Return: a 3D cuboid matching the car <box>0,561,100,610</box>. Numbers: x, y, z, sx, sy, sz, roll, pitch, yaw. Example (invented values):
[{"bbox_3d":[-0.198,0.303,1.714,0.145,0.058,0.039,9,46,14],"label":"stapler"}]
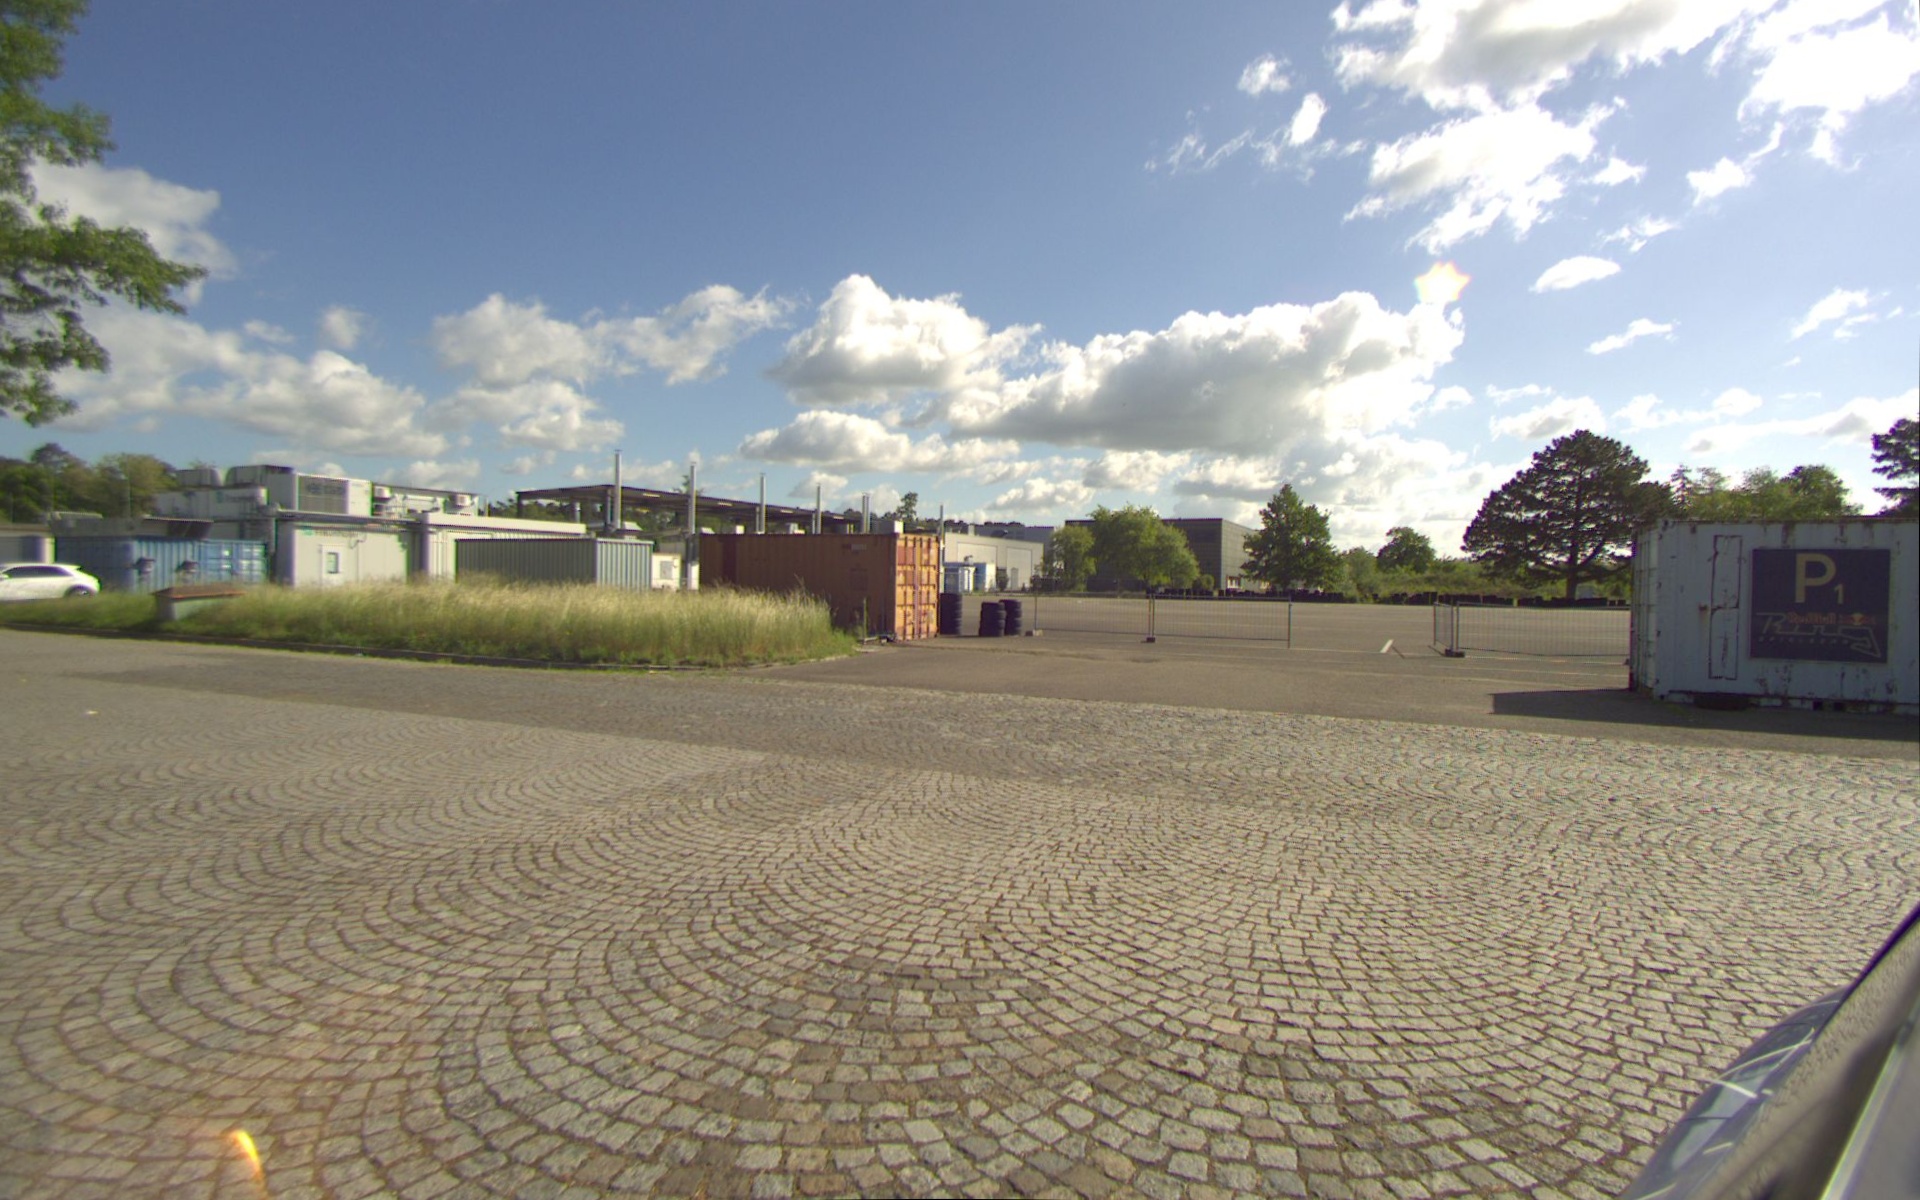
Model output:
[{"bbox_3d":[-32.933,-0.521,34.980,1.978,1.668,4.482,2,1,24],"label":"car"}]
